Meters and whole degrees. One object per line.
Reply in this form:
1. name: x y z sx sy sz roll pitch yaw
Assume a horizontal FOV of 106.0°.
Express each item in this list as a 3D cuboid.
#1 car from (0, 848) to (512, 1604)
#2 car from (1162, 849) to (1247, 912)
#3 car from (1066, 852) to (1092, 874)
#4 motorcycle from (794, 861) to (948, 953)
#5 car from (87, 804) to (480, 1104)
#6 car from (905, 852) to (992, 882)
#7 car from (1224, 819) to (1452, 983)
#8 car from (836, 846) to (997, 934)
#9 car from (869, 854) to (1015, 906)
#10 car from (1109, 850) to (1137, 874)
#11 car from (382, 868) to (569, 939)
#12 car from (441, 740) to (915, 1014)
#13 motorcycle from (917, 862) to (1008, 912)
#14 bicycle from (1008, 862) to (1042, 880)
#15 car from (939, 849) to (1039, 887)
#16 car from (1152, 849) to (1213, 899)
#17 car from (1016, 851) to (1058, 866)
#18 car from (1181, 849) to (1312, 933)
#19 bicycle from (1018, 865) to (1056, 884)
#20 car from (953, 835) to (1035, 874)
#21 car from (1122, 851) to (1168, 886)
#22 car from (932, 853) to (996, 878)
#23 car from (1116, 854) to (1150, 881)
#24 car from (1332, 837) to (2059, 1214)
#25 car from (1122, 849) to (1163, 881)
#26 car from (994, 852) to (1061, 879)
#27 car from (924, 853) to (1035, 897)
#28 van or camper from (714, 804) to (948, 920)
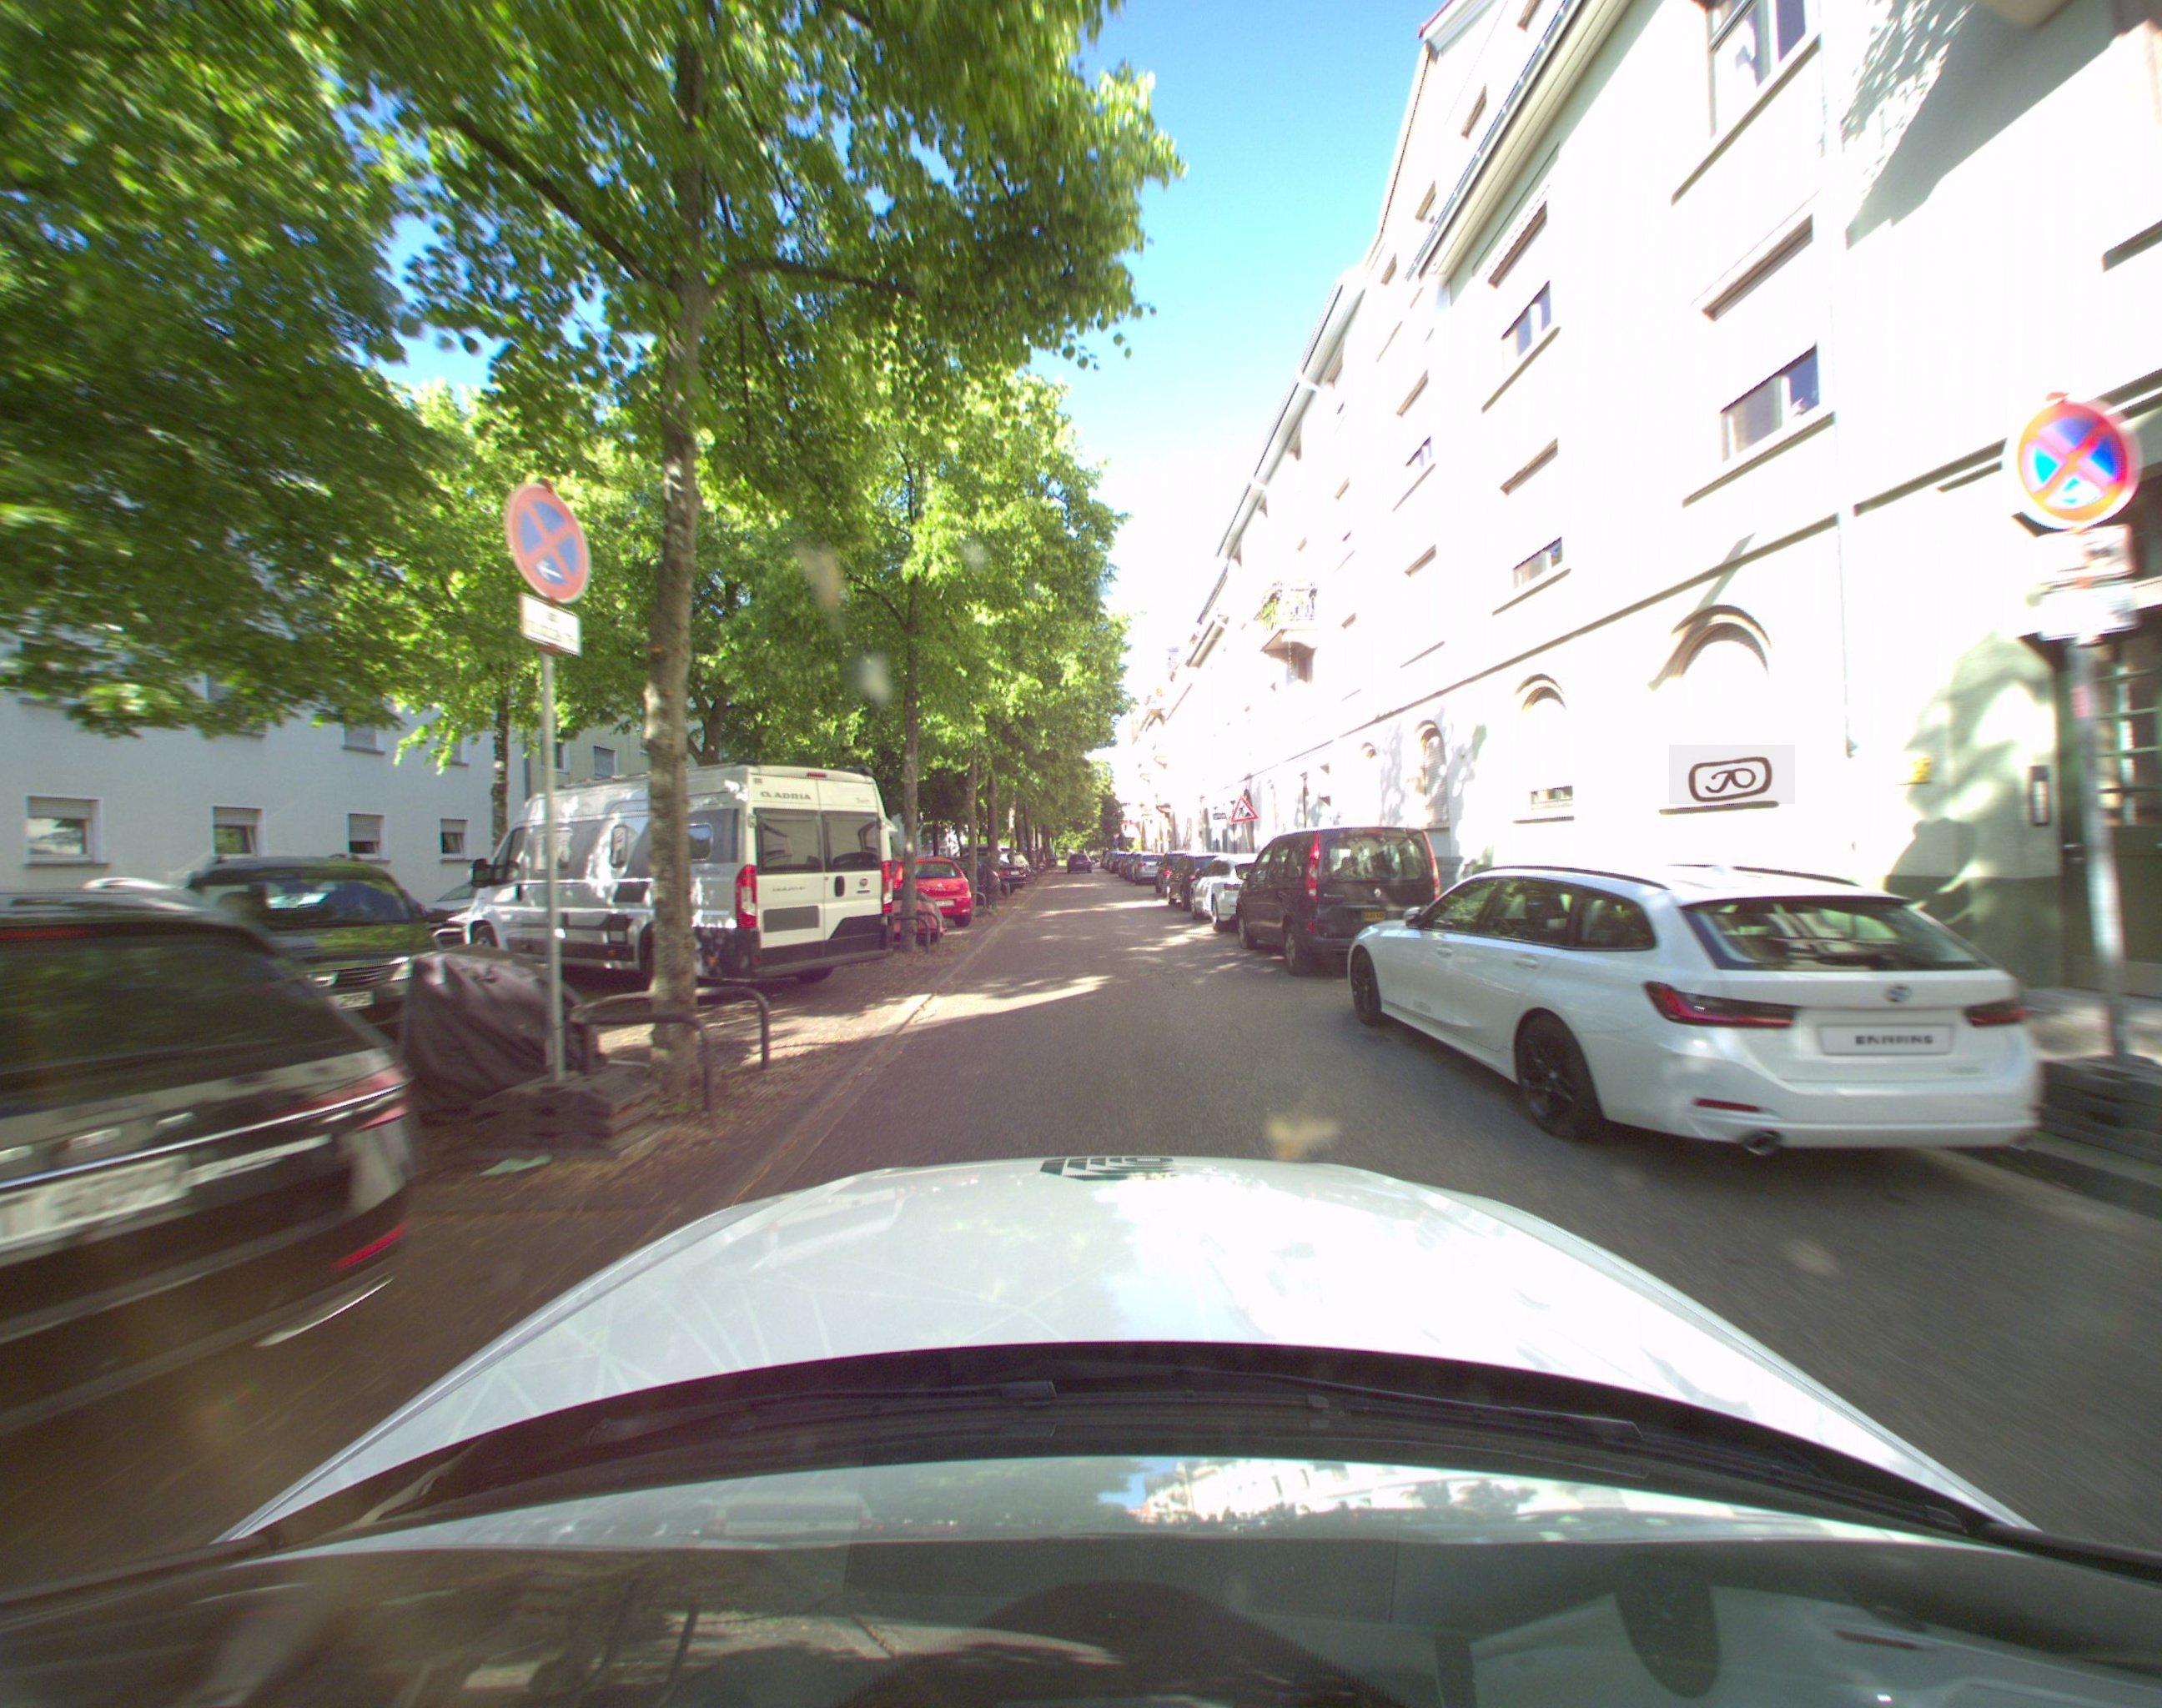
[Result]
1. car: -3.936 0.754 2.731 4.048 1.525 1.712 1 0 29
2. car: 3.255 0.660 22.173 1.595 1.492 3.964 -2 0 -1
3. car: -0.112 0.616 60.359 1.708 1.483 4.145 -3 0 1
4. motorcycle: -3.393 0.830 13.393 2.319 1.335 0.966 -3 0 -10
5. car: -7.219 0.667 7.403 4.329 1.915 2.012 -2 0 43
6. car: -6.845 0.665 41.918 4.064 1.473 1.883 -1 0 28
7. car: 3.283 0.532 11.272 1.766 1.794 3.987 -2 0 -1
8. car: -3.609 0.728 17.443 1.672 1.618 3.834 -3 0 -40
9. car: -4.154 0.777 24.193 4.104 1.425 1.726 -2 -1 31
10. car: 2.949 0.567 57.766 1.799 1.563 4.321 -3 0 1
11. car: -15.192 1.171 20.754 1.745 1.436 4.077 -4 0 -3
12. car: -5.252 0.265 10.224 6.246 2.559 2.353 -1 -1 32
13. motorcycle: -3.033 0.846 20.990 2.135 1.230 0.883 -1 0 8
14. bicycle: -3.139 0.954 45.646 1.797 0.994 0.427 -2 0 14
15. car: -4.136 0.613 36.455 4.038 1.653 1.874 -1 0 26
16. car: 3.359 0.620 27.495 1.575 1.550 4.042 -1 0 1
17. car: -4.388 0.464 80.888 4.086 1.466 1.861 0 -1 -8
18. car: 3.198 0.652 16.622 1.602 1.420 4.566 -2 0 -1
19. bicycle: -2.169 0.999 40.355 1.882 0.919 0.381 -1 0 19
20. car: -7.167 0.090 67.116 6.021 2.623 2.465 -6 -2 15
21. car: 2.913 0.634 37.909 1.764 1.431 4.290 -2 0 0
22. car: -7.881 0.780 54.954 3.865 1.555 1.858 -3 0 30
23. car: 2.995 0.758 47.384 1.687 1.468 4.004 -1 0 0
24. car: 3.256 0.718 5.571 1.699 1.511 4.283 -2 0 0
25. car: 3.202 0.556 42.987 1.762 1.551 4.183 -2 0 0
26. car: -3.270 0.700 49.586 3.649 1.596 1.783 -1 0 24
27. car: -3.846 0.801 30.588 3.968 1.474 1.637 -3 0 35
28. van or camper: -6.945 0.217 22.435 6.227 2.825 2.422 -1 0 28
